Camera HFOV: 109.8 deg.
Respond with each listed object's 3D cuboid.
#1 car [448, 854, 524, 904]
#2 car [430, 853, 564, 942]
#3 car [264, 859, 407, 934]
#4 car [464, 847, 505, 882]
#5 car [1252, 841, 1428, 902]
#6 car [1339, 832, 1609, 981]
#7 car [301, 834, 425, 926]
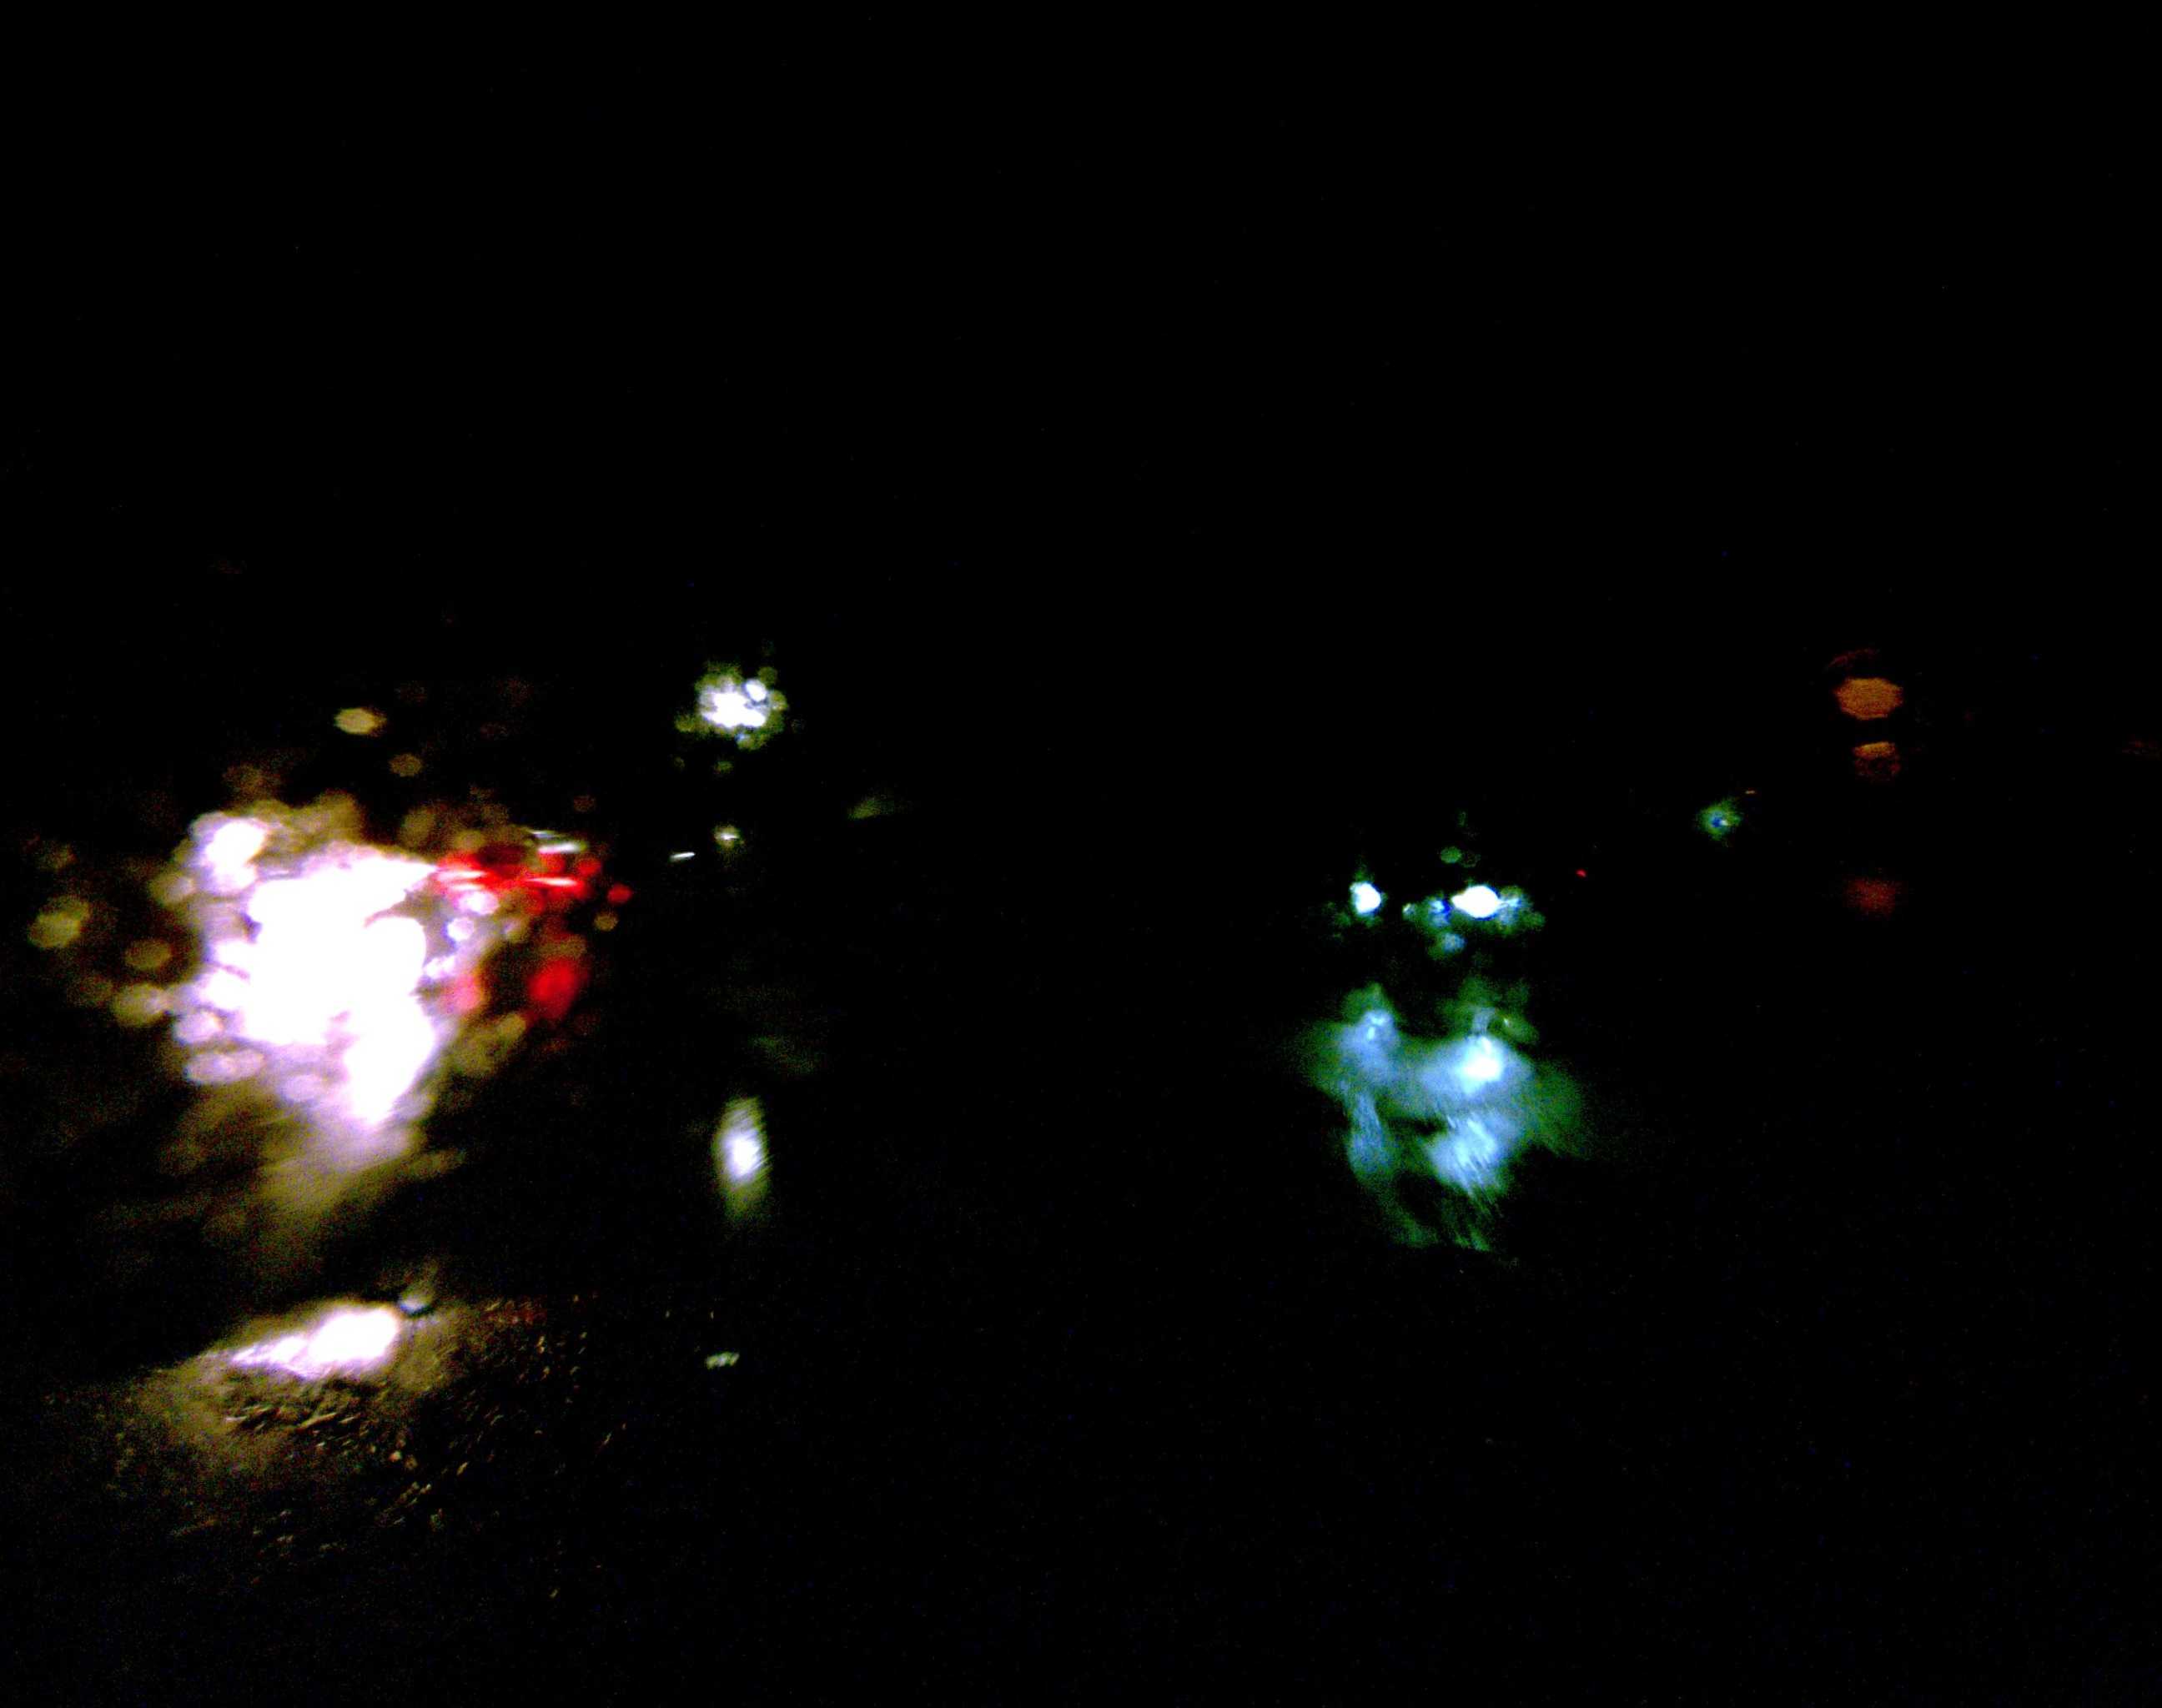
[{"bbox_3d":[-20.912,0.805,26.640,1.919,1.502,4.228,-2,2,-40],"label":"car"},{"bbox_3d":[-12.653,0.847,16.500,2.068,1.668,4.128,0,-1,-38],"label":"car"},{"bbox_3d":[-17.891,1.007,18.451,1.984,1.508,4.196,-4,-1,-39],"label":"car"},{"bbox_3d":[-35.030,0.632,44.677,1.780,1.935,4.243,0,-1,-38],"label":"car"},{"bbox_3d":[7.392,0.411,22.084,1.943,1.577,4.469,-1,2,-38],"label":"car"},{"bbox_3d":[5.869,0.617,11.122,4.347,1.678,1.890,-3,0,-40],"label":"car"},{"bbox_3d":[-21.660,0.801,23.137,2.178,2.427,4.849,-4,0,-38],"label":"car"}]
